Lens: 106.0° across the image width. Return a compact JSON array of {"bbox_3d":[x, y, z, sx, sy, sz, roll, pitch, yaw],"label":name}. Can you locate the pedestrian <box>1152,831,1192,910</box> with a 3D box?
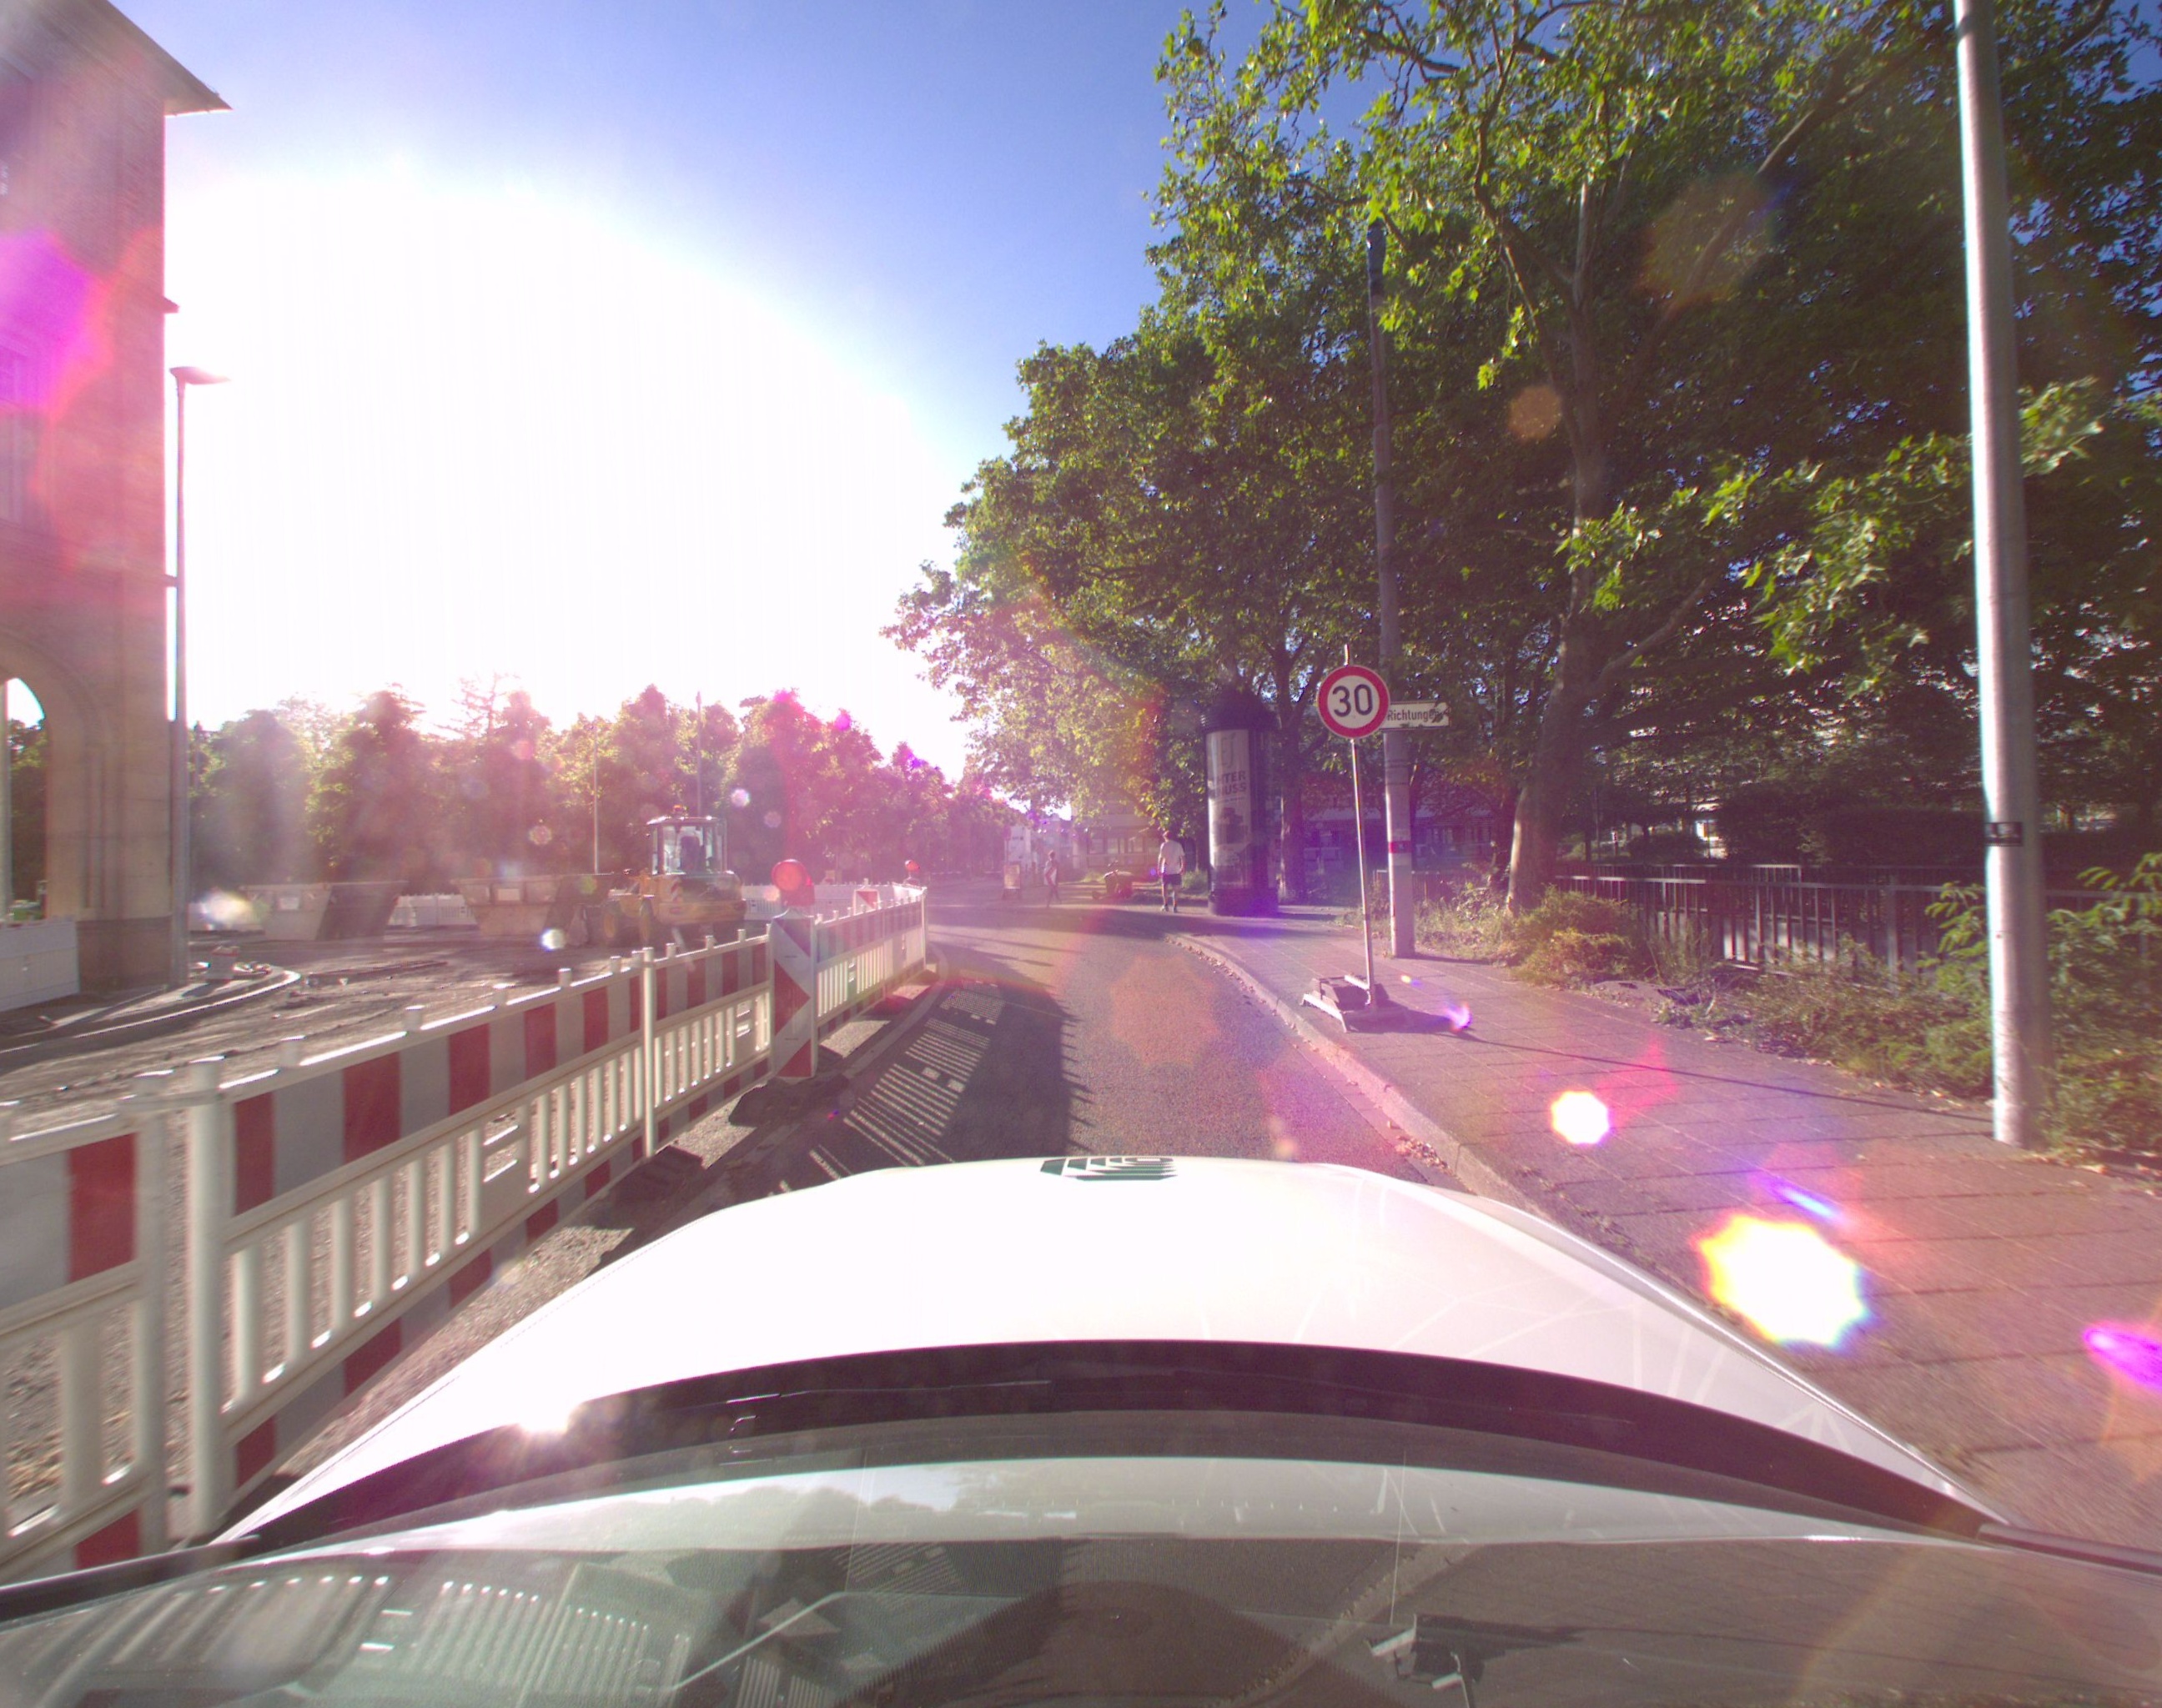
[{"bbox_3d":[2.143,0.381,19.308,0.743,1.813,1.132,0,-1,-4],"label":"pedestrian"}]

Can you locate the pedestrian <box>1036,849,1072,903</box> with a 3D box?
[{"bbox_3d":[-0.832,0.678,25.071,0.713,1.623,0.930,-1,-2,-30],"label":"pedestrian"}]

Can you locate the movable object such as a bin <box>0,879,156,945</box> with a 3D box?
[{"bbox_3d":[-32.751,1.822,26.273,4.289,1.949,2.064,-1,-1,14],"label":"movable object such as a bin"}]

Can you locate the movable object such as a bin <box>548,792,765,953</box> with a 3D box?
[{"bbox_3d":[-9.691,0.425,18.290,5.857,3.031,2.582,-3,-1,45],"label":"movable object such as a bin"}]

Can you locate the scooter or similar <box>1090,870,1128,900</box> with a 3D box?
[{"bbox_3d":[0.926,1.007,26.583,1.145,0.914,0.418,-3,-2,-7],"label":"scooter or similar"}]

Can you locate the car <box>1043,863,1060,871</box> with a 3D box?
[{"bbox_3d":[-7.742,3.403,213.364,4.543,1.791,1.999,-1,-1,-1],"label":"car"}]
